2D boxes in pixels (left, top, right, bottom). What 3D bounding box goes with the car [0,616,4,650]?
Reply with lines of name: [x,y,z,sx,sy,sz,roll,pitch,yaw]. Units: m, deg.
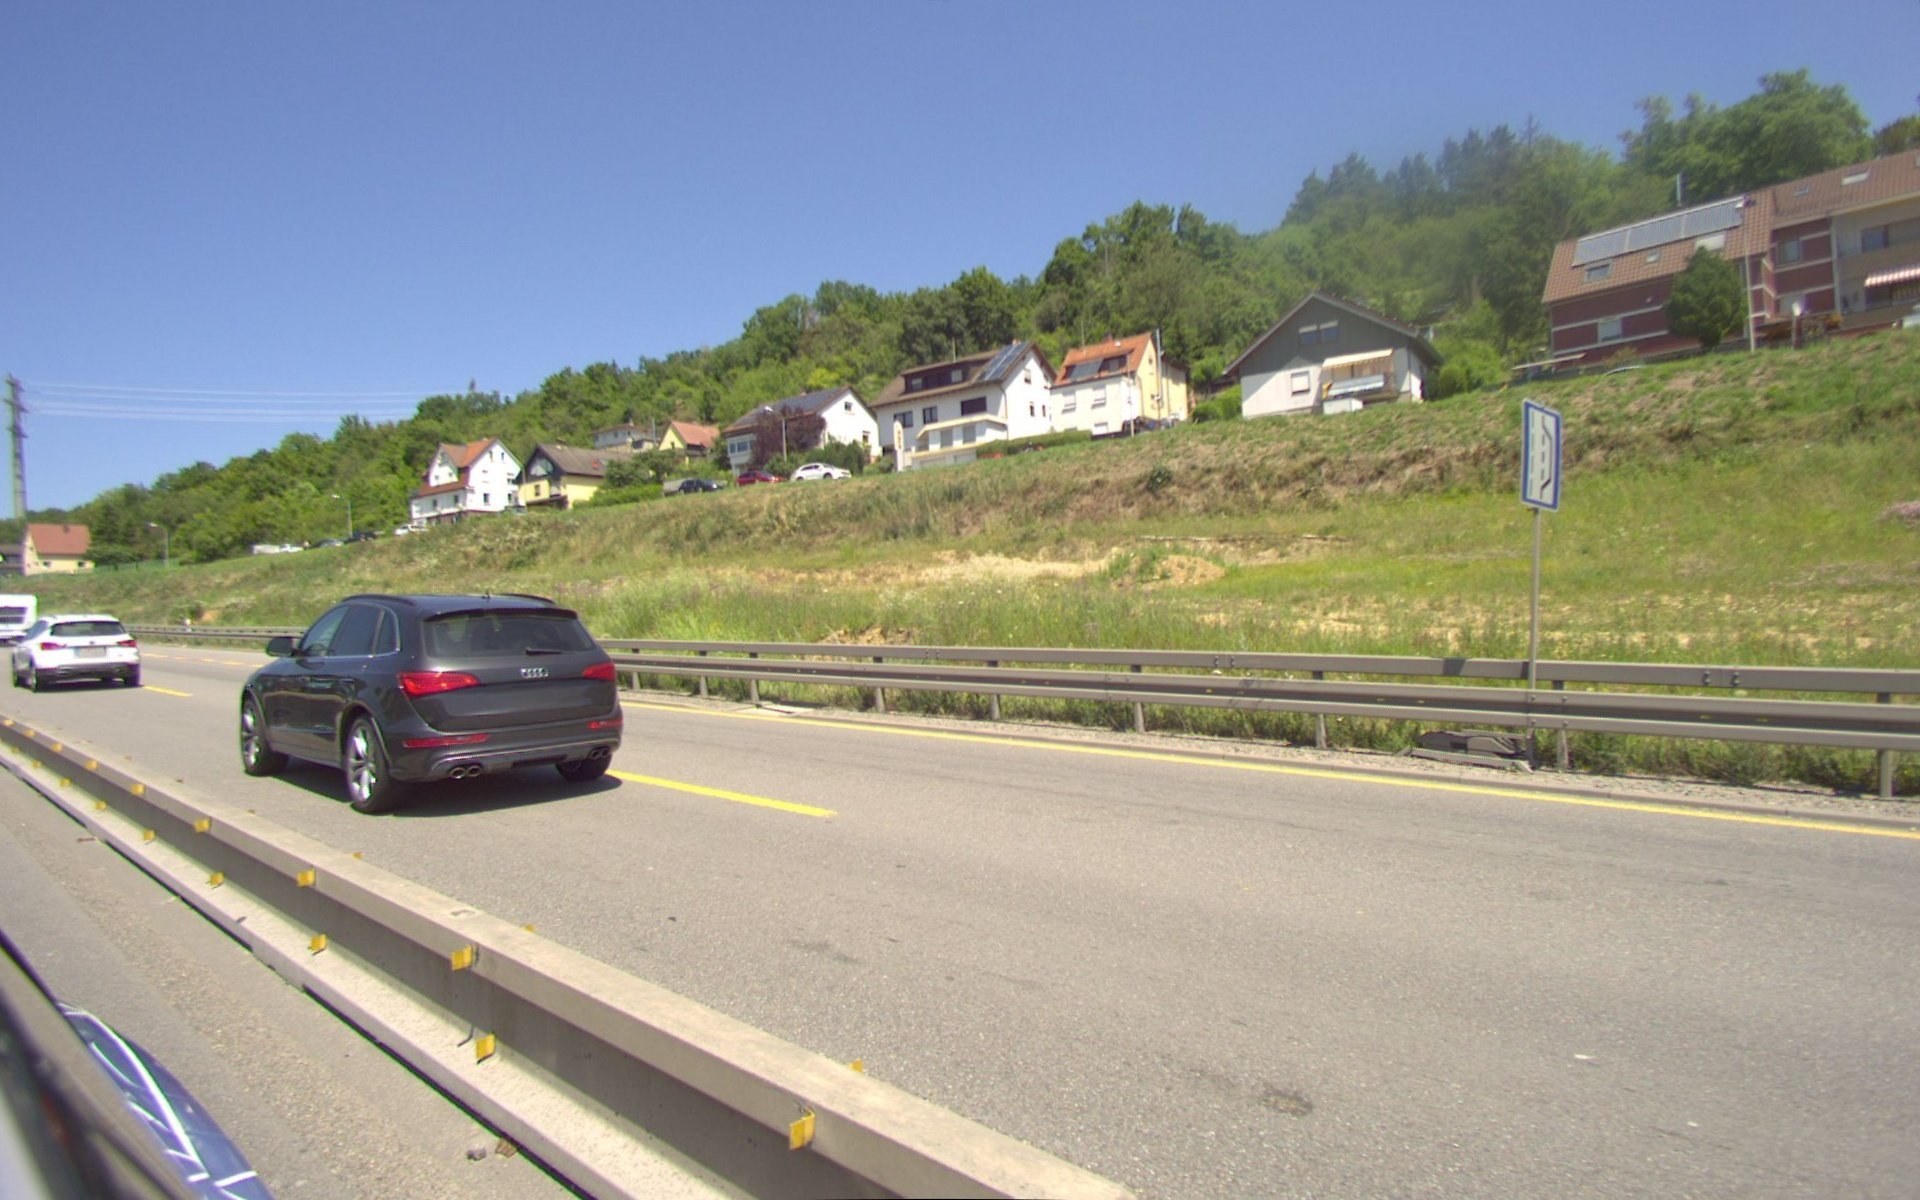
car: [-54.954,1.891,56.427,3.663,1.833,1.973,-1,1,41]

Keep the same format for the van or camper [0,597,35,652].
van or camper: [-49.199,1.238,51.625,6.048,2.670,2.352,-1,-1,41]

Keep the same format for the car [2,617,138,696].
car: [-19.142,1.136,21.691,4.539,1.487,1.656,-1,-1,42]

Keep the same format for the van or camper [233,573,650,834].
van or camper: [-4.477,0.690,8.497,3.886,1.681,1.809,-1,0,41]
